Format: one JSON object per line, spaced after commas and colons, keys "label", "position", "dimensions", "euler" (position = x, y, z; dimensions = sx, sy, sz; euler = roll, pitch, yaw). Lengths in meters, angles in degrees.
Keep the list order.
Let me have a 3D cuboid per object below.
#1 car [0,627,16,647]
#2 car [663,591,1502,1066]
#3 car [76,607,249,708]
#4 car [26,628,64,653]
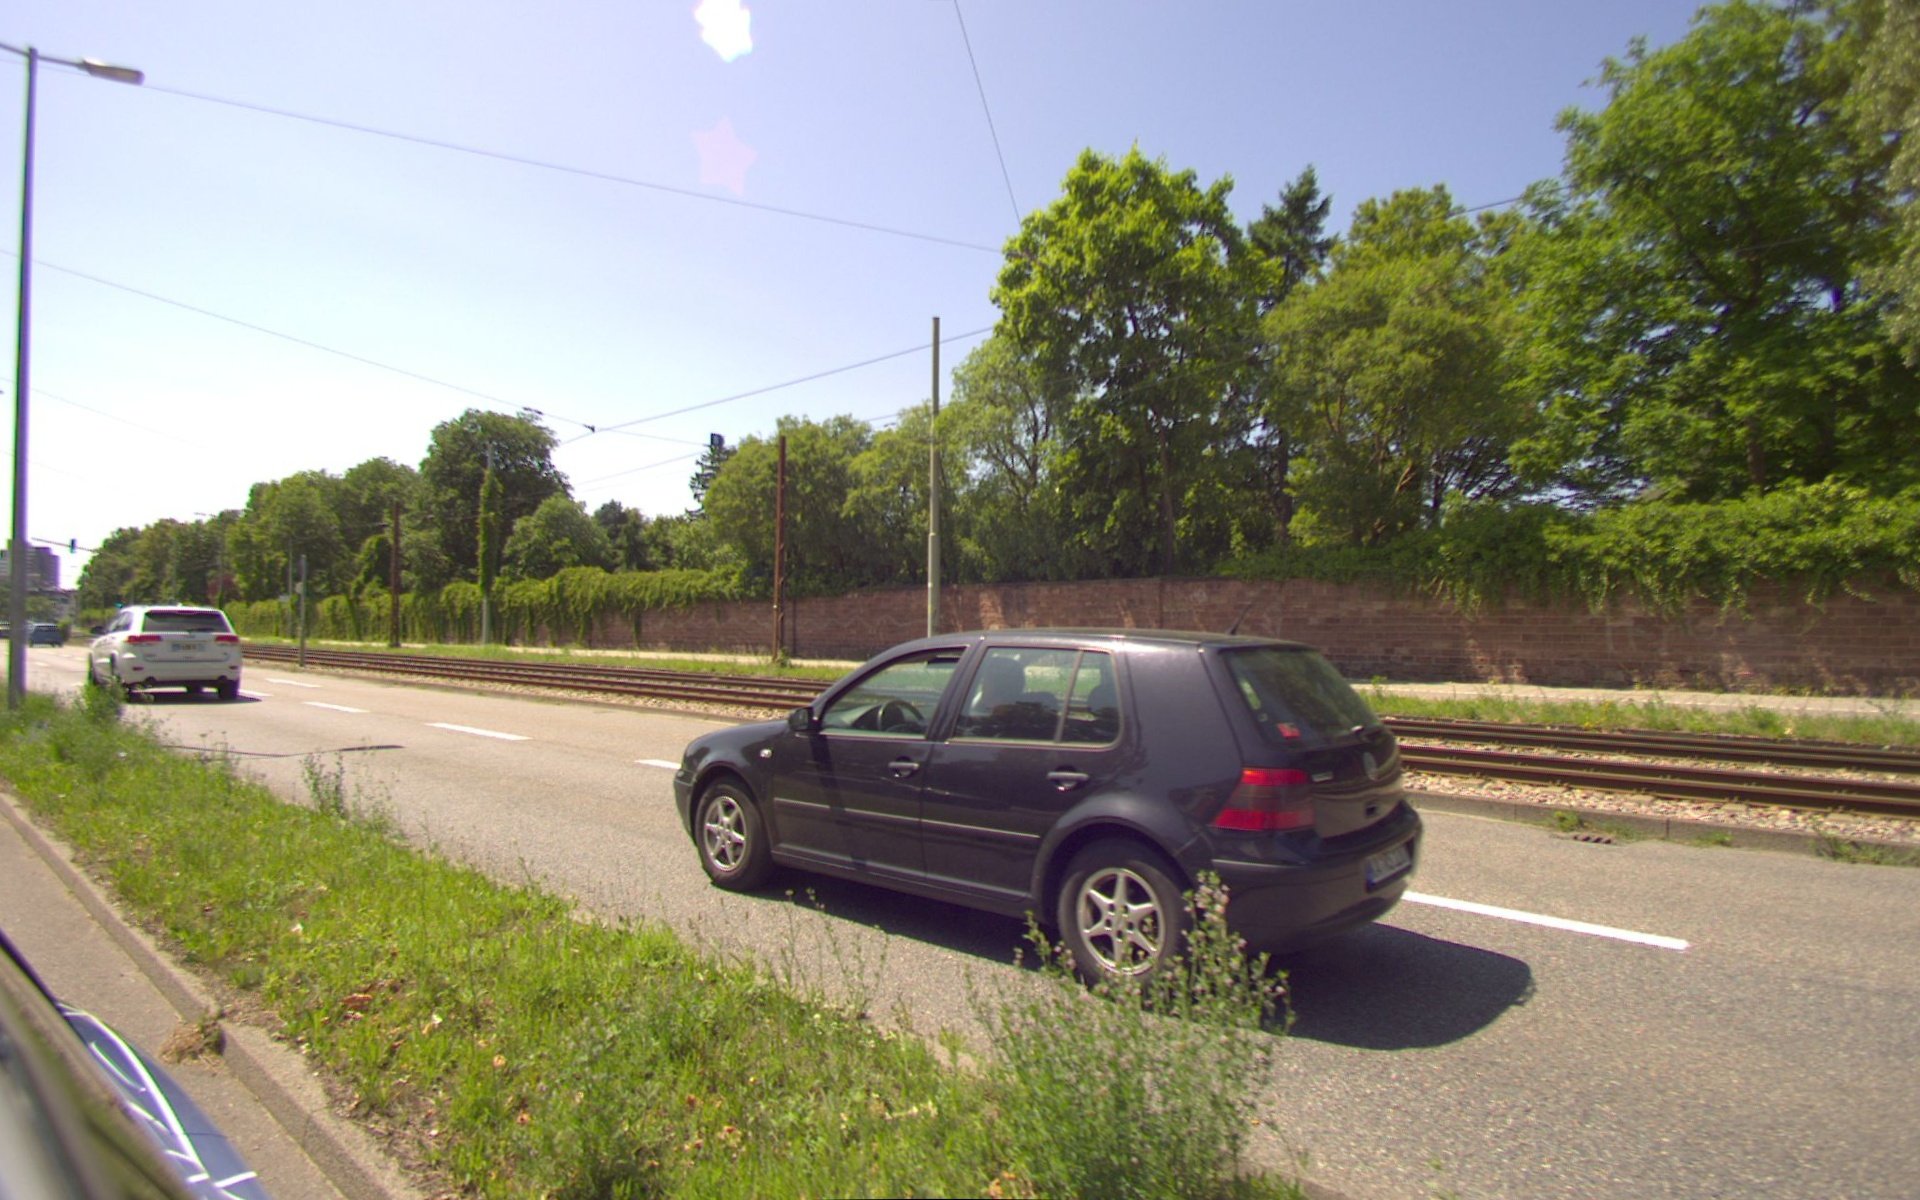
{"label": "car", "position": [-78.219, 3.012, 82.338], "dimensions": [4.096, 1.532, 1.742], "euler": [-2, -3, 42]}
{"label": "car", "position": [0.349, 0.775, 5.090], "dimensions": [3.911, 1.470, 1.698], "euler": [-2, -3, 41]}
{"label": "car", "position": [-15.727, 1.081, 19.881], "dimensions": [4.586, 1.762, 1.880], "euler": [-2, -3, 42]}
{"label": "car", "position": [-57.119, 2.521, 63.192], "dimensions": [1.674, 1.482, 3.795], "euler": [2, -3, -42]}
